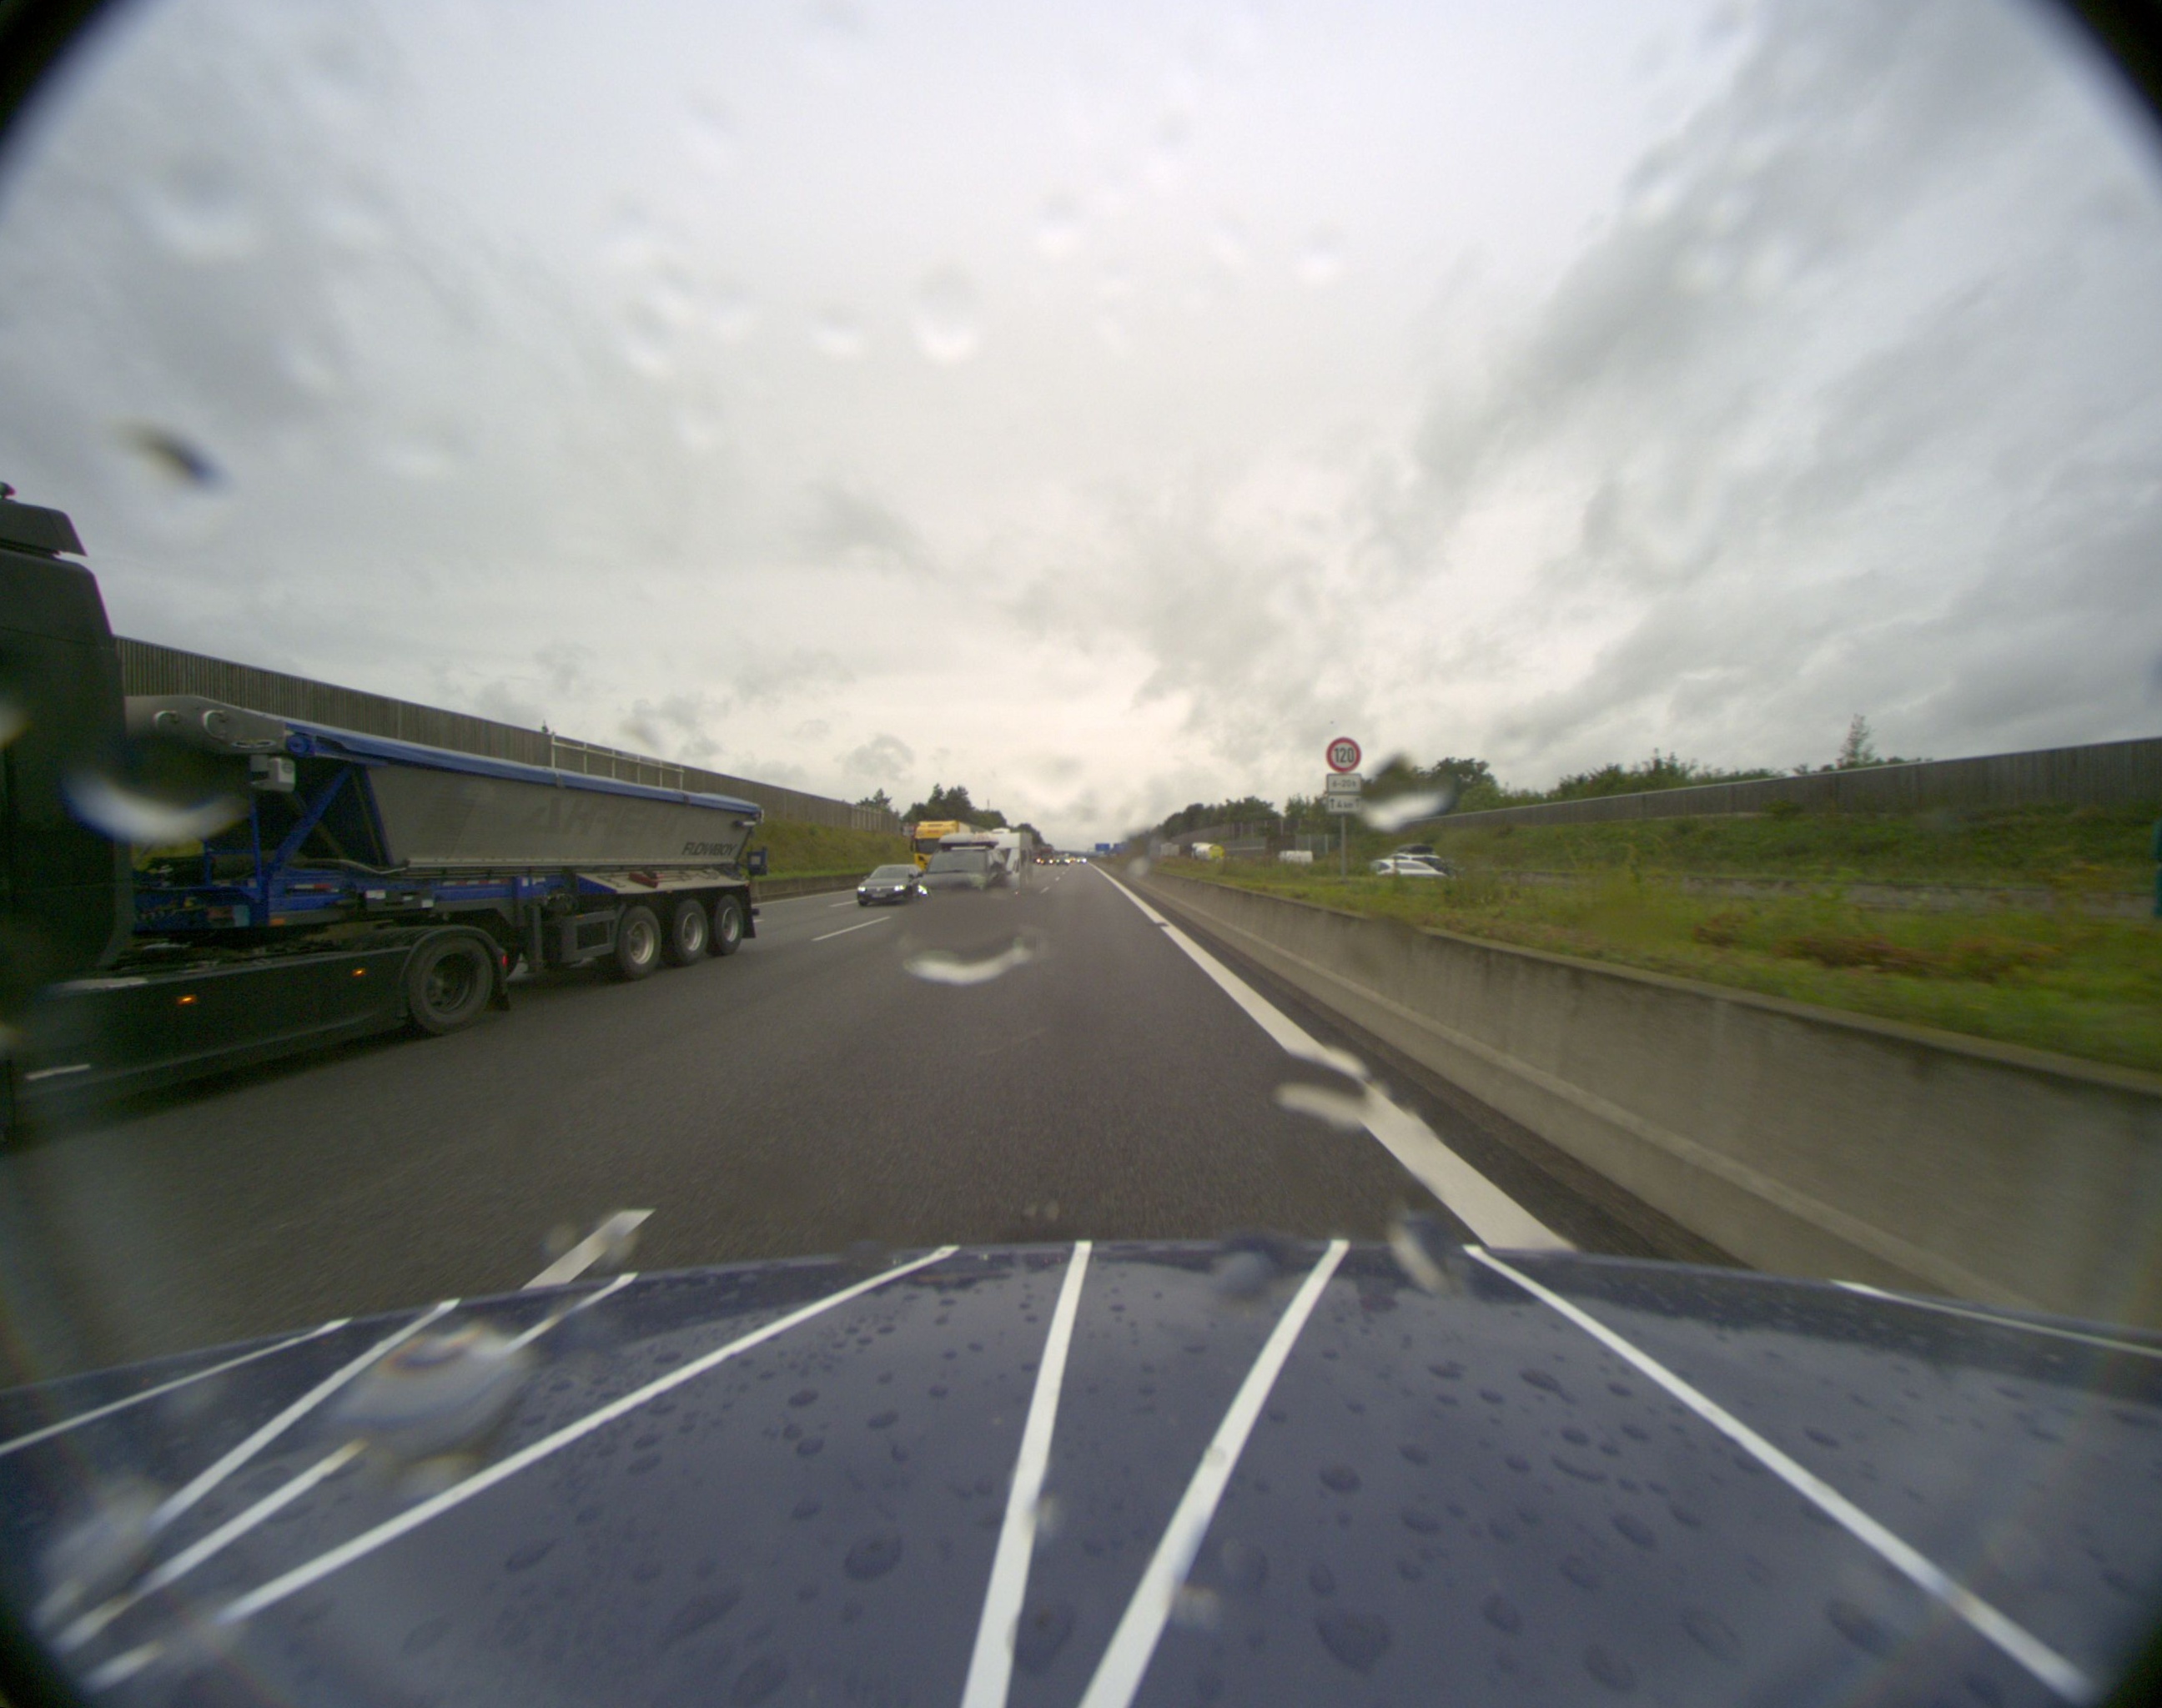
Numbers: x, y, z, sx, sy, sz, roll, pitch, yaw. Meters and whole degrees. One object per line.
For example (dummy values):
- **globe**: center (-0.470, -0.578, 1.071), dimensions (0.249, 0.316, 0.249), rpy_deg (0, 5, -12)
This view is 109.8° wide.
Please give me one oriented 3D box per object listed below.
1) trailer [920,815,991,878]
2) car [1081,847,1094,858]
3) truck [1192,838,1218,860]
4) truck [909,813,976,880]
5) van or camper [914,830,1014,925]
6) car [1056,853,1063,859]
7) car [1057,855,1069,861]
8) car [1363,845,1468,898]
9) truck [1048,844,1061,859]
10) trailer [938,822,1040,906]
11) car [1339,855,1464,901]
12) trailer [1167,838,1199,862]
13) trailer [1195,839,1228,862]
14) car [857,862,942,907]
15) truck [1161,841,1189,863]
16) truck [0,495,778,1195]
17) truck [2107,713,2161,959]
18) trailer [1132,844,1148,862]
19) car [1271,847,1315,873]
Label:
- **trailer**: center (-9.050, -0.544, 57.044), dimensions (2.658, 3.930, 16.683), rpy_deg (-2, 0, -1)
- **car**: center (1.389, -0.349, 169.649), dimensions (2.680, 2.340, 5.807), rpy_deg (-1, 0, -2)
- **truck**: center (17.994, -0.668, 110.342), dimensions (2.628, 3.002, 5.612), rpy_deg (-2, 1, -1)
- **truck**: center (-8.927, -0.476, 50.149), dimensions (2.693, 3.935, 9.324), rpy_deg (-2, 0, -1)
- **van or camper**: center (-3.092, 0.586, 21.362), dimensions (1.895, 2.256, 5.679), rpy_deg (-2, 0, 0)
- **car**: center (-6.728, 0.543, 236.915), dimensions (1.998, 1.747, 4.000), rpy_deg (-1, 0, 0)
- **car**: center (-3.147, 0.740, 135.309), dimensions (2.061, 1.020, 3.438), rpy_deg (-2, 0, 0)
- **car**: center (14.146, 0.669, 32.563), dimensions (1.998, 2.002, 5.618), rpy_deg (-2, 0, 0)
- **truck**: center (-5.892, -0.504, 167.420), dimensions (2.617, 3.218, 4.632), rpy_deg (-1, 0, 0)
- **trailer**: center (-3.133, 0.331, 27.957), dimensions (2.728, 2.627, 7.511), rpy_deg (-1, 0, 1)
- **car**: center (10.453, 0.730, 25.303), dimensions (1.998, 1.279, 5.228), rpy_deg (-2, 0, 1)
- **trailer**: center (13.724, -0.536, 103.000), dimensions (2.963, 2.942, 10.568), rpy_deg (-2, 0, 1)
- **trailer**: center (18.043, -0.466, 105.744), dimensions (2.618, 2.971, 10.795), rpy_deg (-2, 0, -1)
- **car**: center (-6.813, 1.090, 29.147), dimensions (1.944, 1.419, 5.289), rpy_deg (-3, 0, 0)
- **truck**: center (13.850, -0.348, 112.633), dimensions (2.963, 3.049, 8.726), rpy_deg (-2, 0, 0)
- **truck**: center (-7.435, -0.055, 8.461), dimensions (2.820, 3.927, 12.712), rpy_deg (-2, 0, 0)
- **truck**: center (18.193, -0.314, 8.629), dimensions (2.869, 3.816, 7.521), rpy_deg (-2, 1, 0)
- **trailer**: center (17.181, -0.278, 222.508), dimensions (3.225, 4.857, 13.523), rpy_deg (-2, 0, -2)
- **car**: center (17.156, 0.449, 61.808), dimensions (1.912, 2.002, 5.953), rpy_deg (-2, 0, 1)
